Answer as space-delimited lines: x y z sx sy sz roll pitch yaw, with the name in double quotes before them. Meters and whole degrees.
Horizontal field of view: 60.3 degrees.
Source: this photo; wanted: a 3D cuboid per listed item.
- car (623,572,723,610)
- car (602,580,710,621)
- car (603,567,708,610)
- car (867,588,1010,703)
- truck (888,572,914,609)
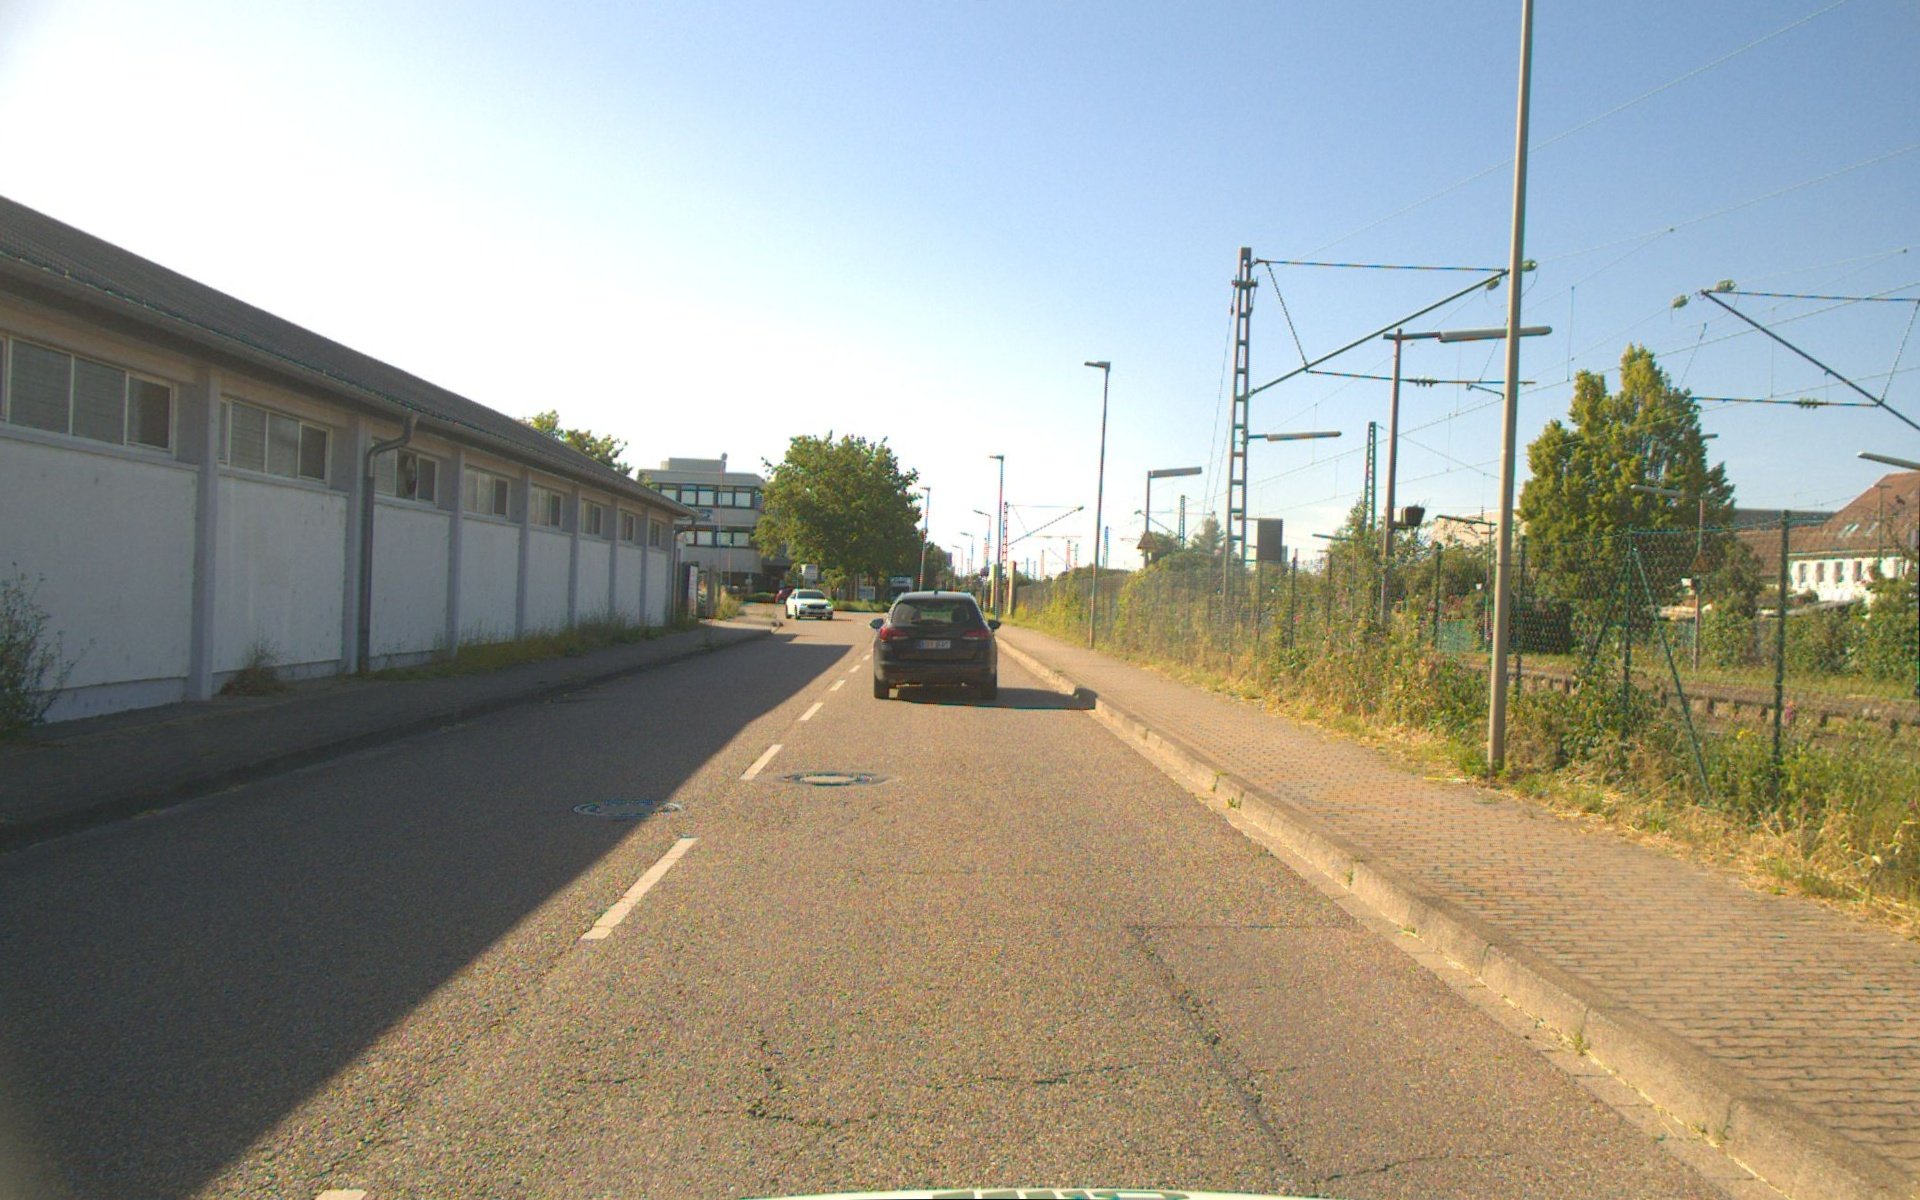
"car" -13.693 -0.407 79.021 4.349 1.677 1.819 2 0 -34
"car" -12.602 0.014 68.689 4.311 1.533 1.835 2 0 -12
"car" -13.083 -0.480 71.094 4.311 1.677 1.835 2 0 -12
"car" -0.344 0.607 24.321 1.903 1.515 4.564 1 0 -2
"truck" -6.780 -1.044 189.307 2.561 3.953 13.524 3 0 -3
